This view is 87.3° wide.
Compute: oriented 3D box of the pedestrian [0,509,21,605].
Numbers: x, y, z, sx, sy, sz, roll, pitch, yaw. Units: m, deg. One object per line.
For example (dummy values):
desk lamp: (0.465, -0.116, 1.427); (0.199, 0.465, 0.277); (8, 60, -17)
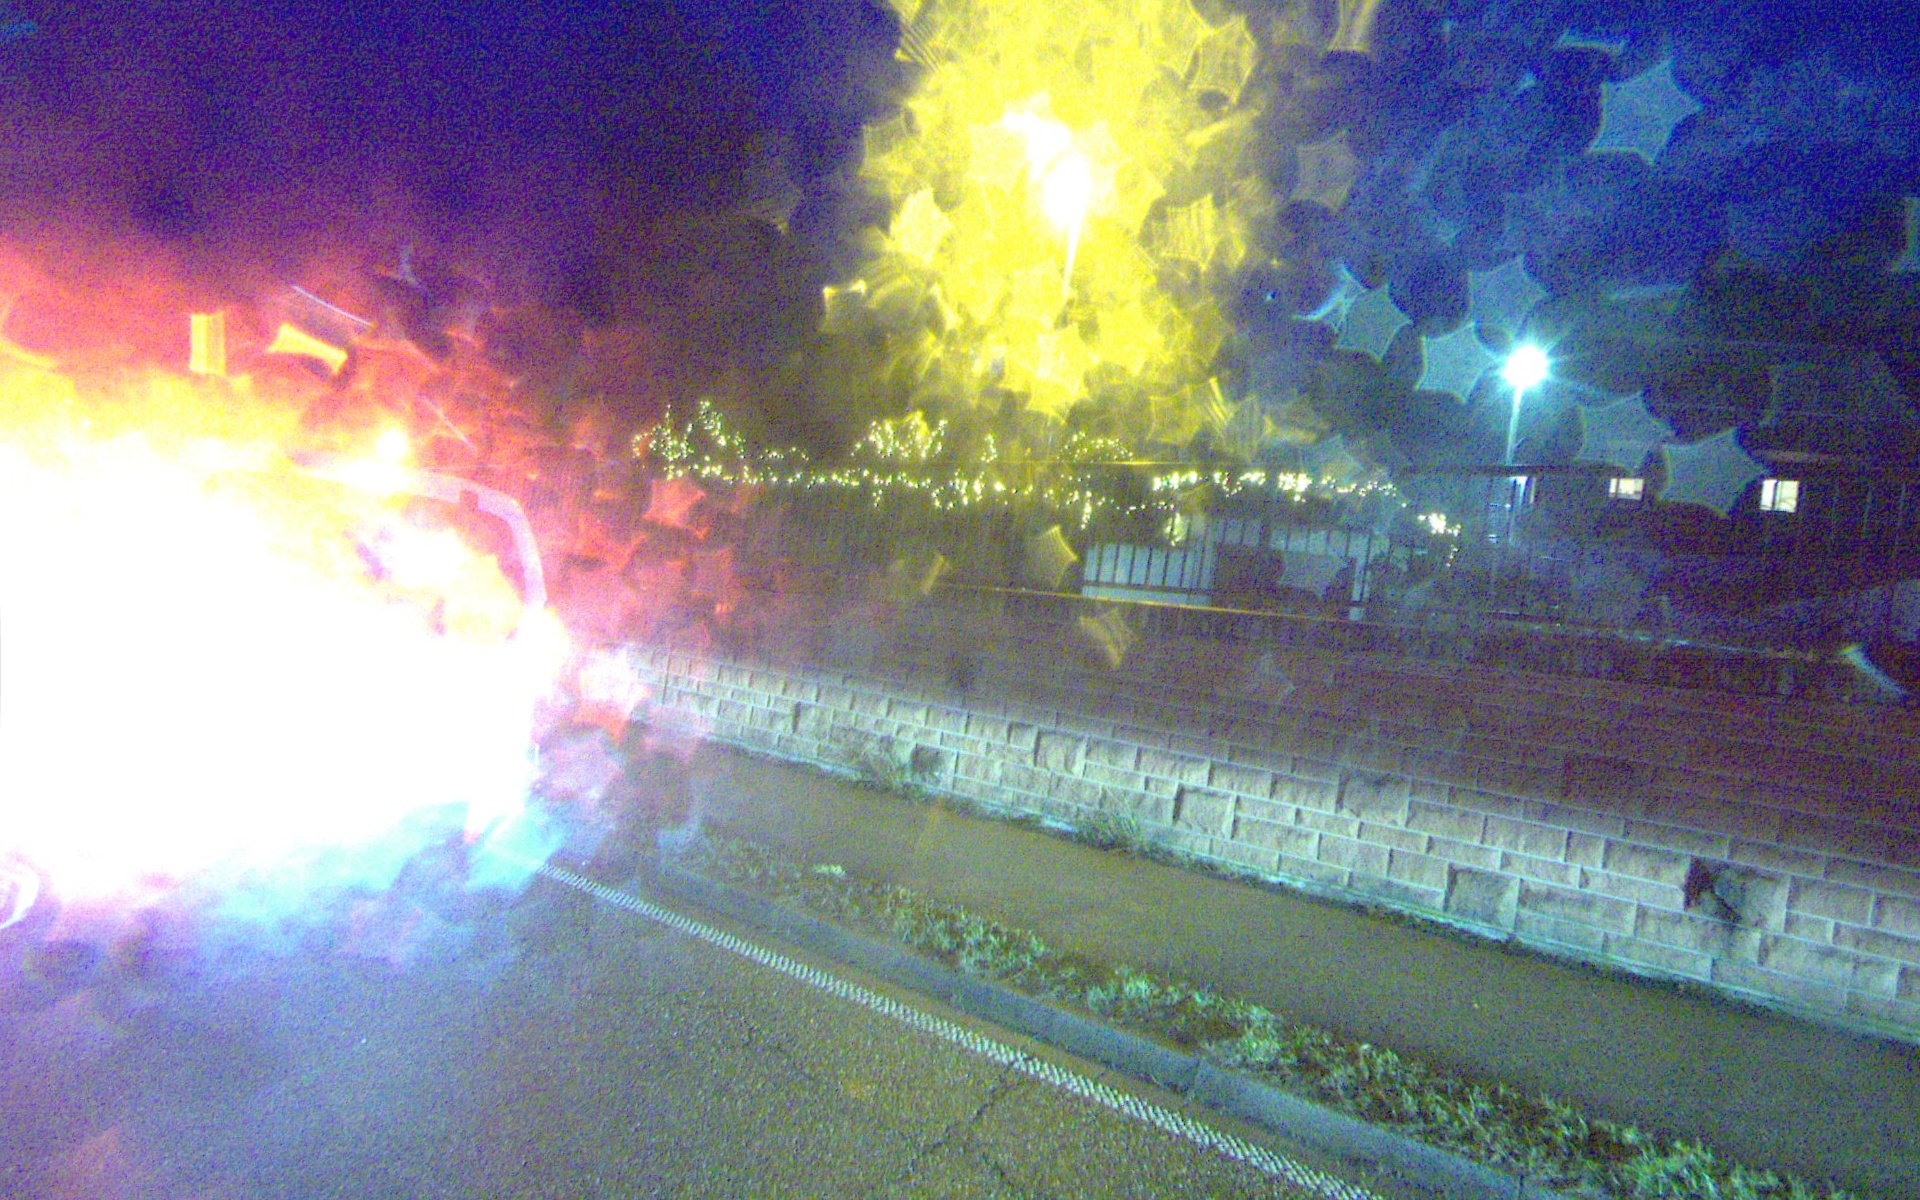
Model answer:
pedestrian: (-17.617, -0.814, 18.192); (0.532, 1.721, 0.624); (7, -1, 29)

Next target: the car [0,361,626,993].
car: (-3.911, 0.127, 4.903); (4.269, 1.886, 1.855); (6, -2, 32)

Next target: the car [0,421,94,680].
car: (-9.677, -0.623, 8.763); (3.934, 2.070, 1.973); (6, -2, 32)
